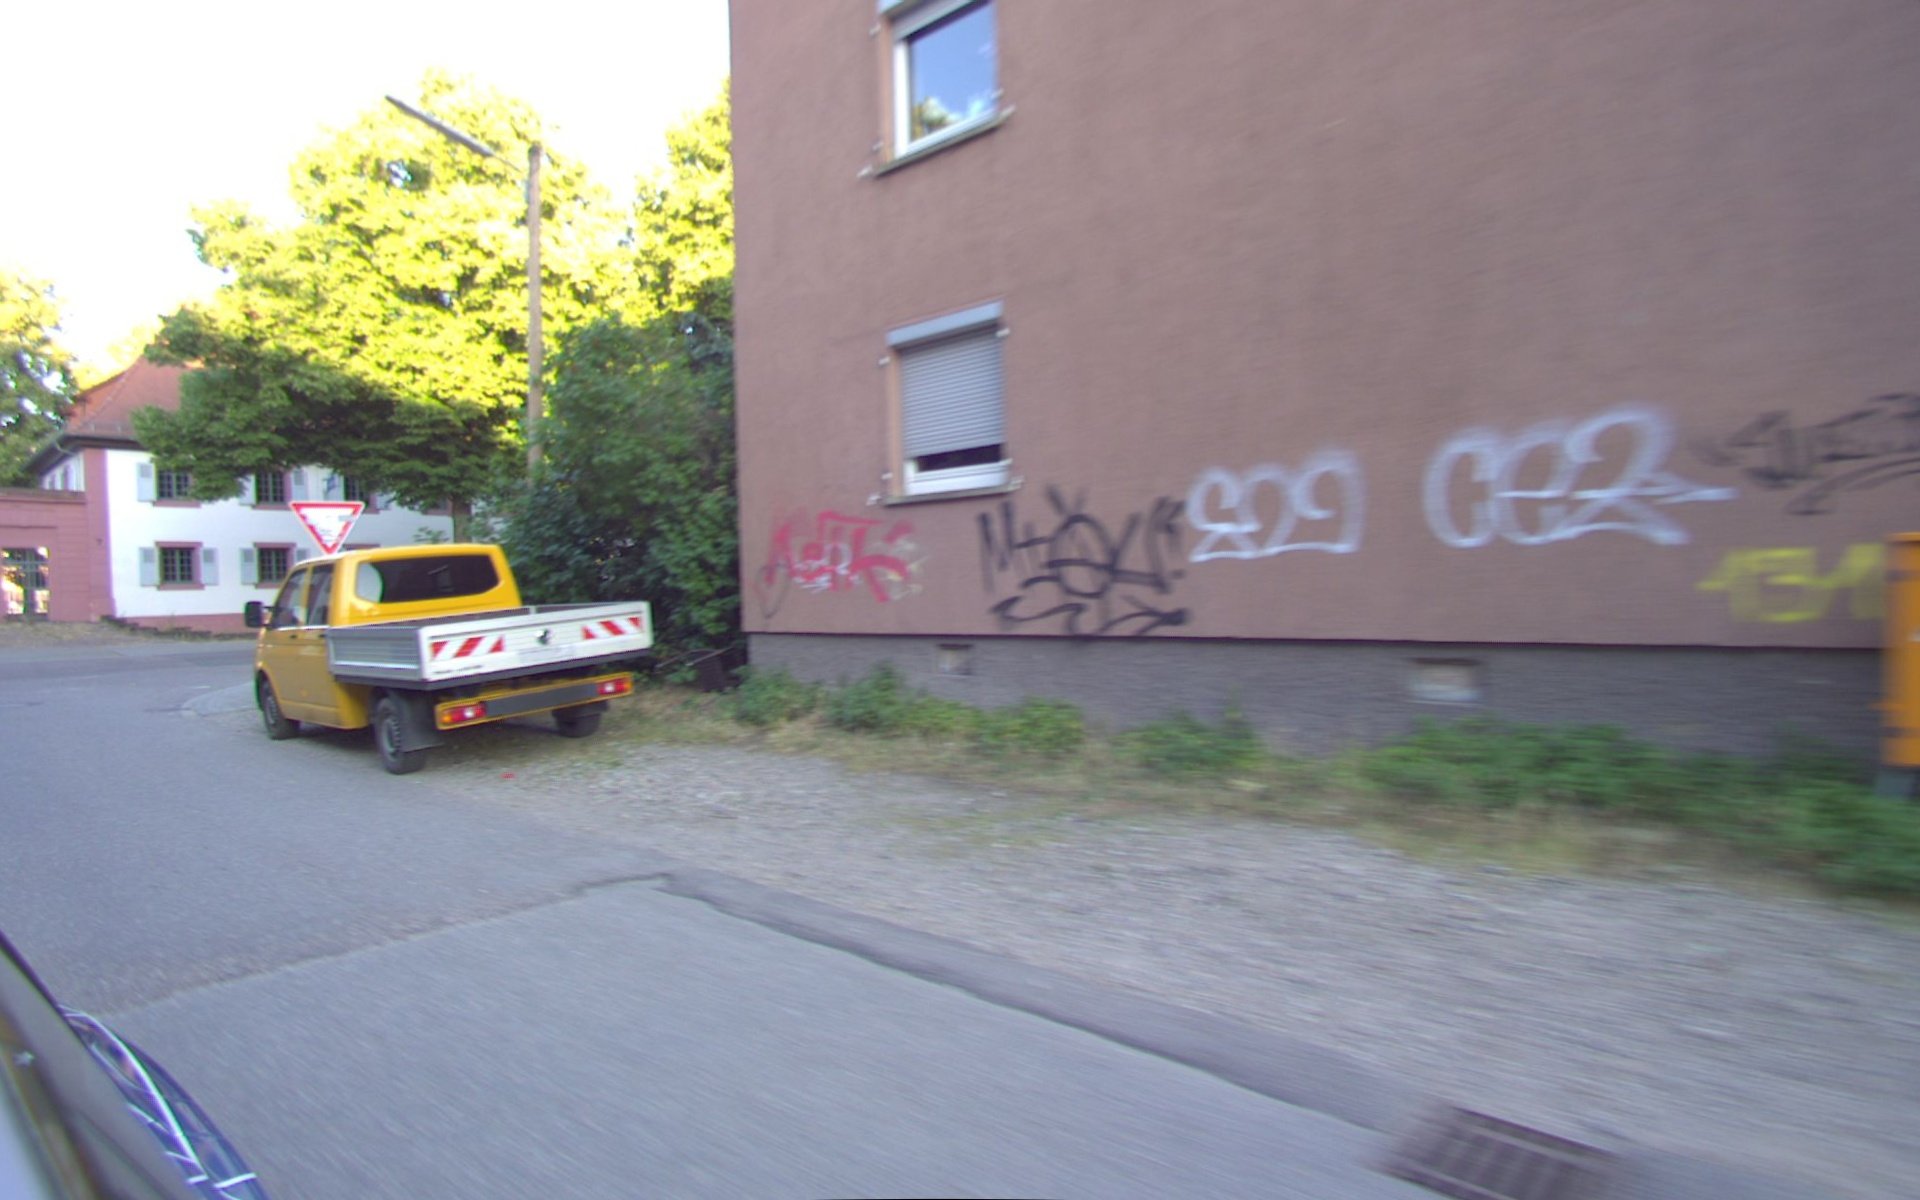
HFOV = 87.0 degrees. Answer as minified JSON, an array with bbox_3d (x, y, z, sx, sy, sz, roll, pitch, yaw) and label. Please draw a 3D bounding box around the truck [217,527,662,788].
[{"bbox_3d":[-5.436,0.361,10.097,5.660,1.927,2.013,1,3,42],"label":"truck"}]
